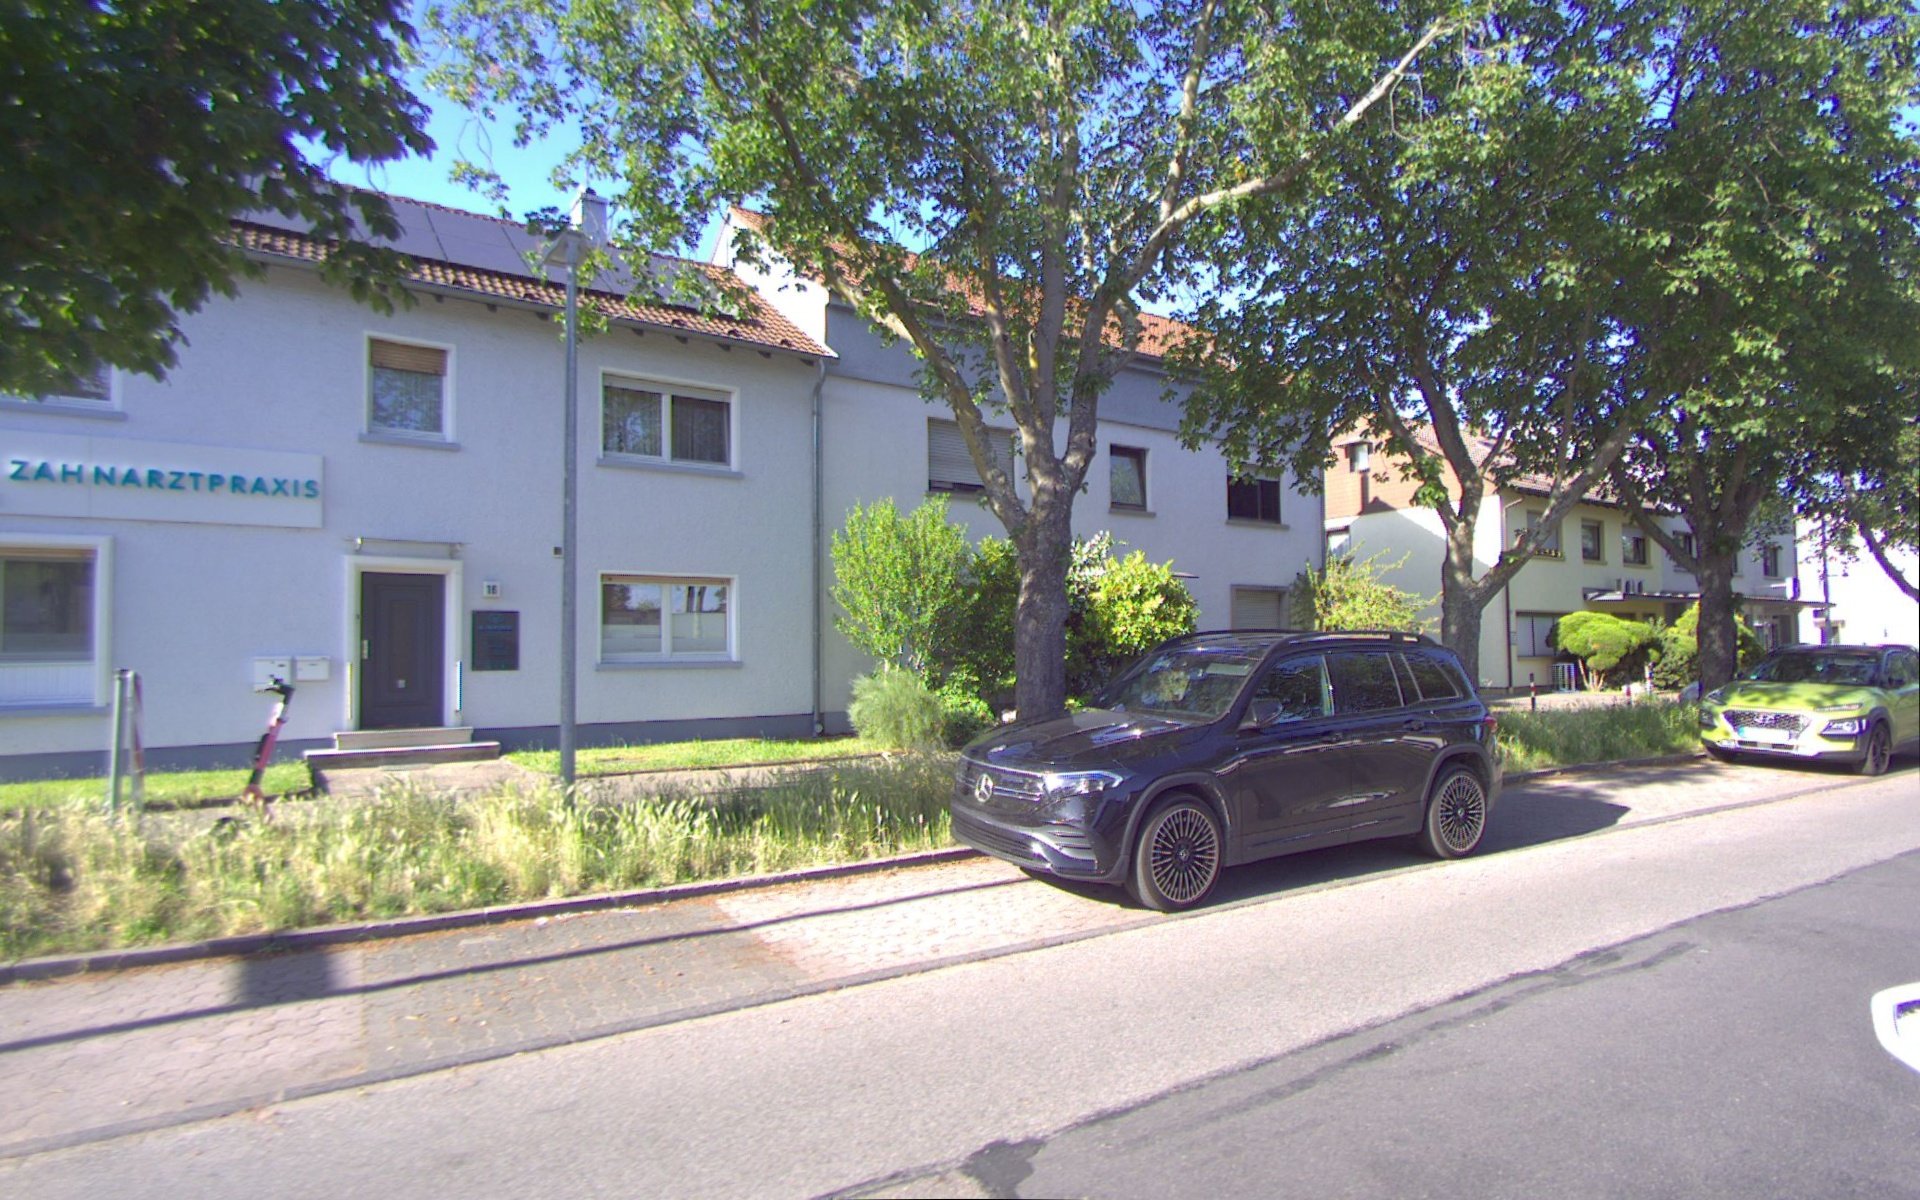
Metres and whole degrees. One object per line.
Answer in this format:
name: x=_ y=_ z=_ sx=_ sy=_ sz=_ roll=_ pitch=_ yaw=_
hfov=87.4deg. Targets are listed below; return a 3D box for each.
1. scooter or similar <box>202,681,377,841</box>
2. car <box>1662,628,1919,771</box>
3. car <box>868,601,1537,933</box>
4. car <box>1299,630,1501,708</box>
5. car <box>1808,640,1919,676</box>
scooter or similar: x=-4.685 y=1.095 z=7.053 sx=0.988 sy=1.014 sz=0.333 roll=1 pitch=-4 yaw=-35
car: x=11.566 y=1.243 z=13.474 sx=4.333 sy=1.630 sz=1.930 roll=2 pitch=-2 yaw=-31
car: x=1.927 y=0.986 z=7.393 sx=4.819 sy=1.749 sz=1.944 roll=2 pitch=-2 yaw=-31
car: x=10.896 y=1.630 z=25.110 sx=1.981 sy=1.736 sz=4.205 roll=0 pitch=-1 yaw=-36
car: x=46.153 y=2.918 z=50.904 sx=1.980 sy=1.639 sz=4.526 roll=-1 pitch=-1 yaw=-34
